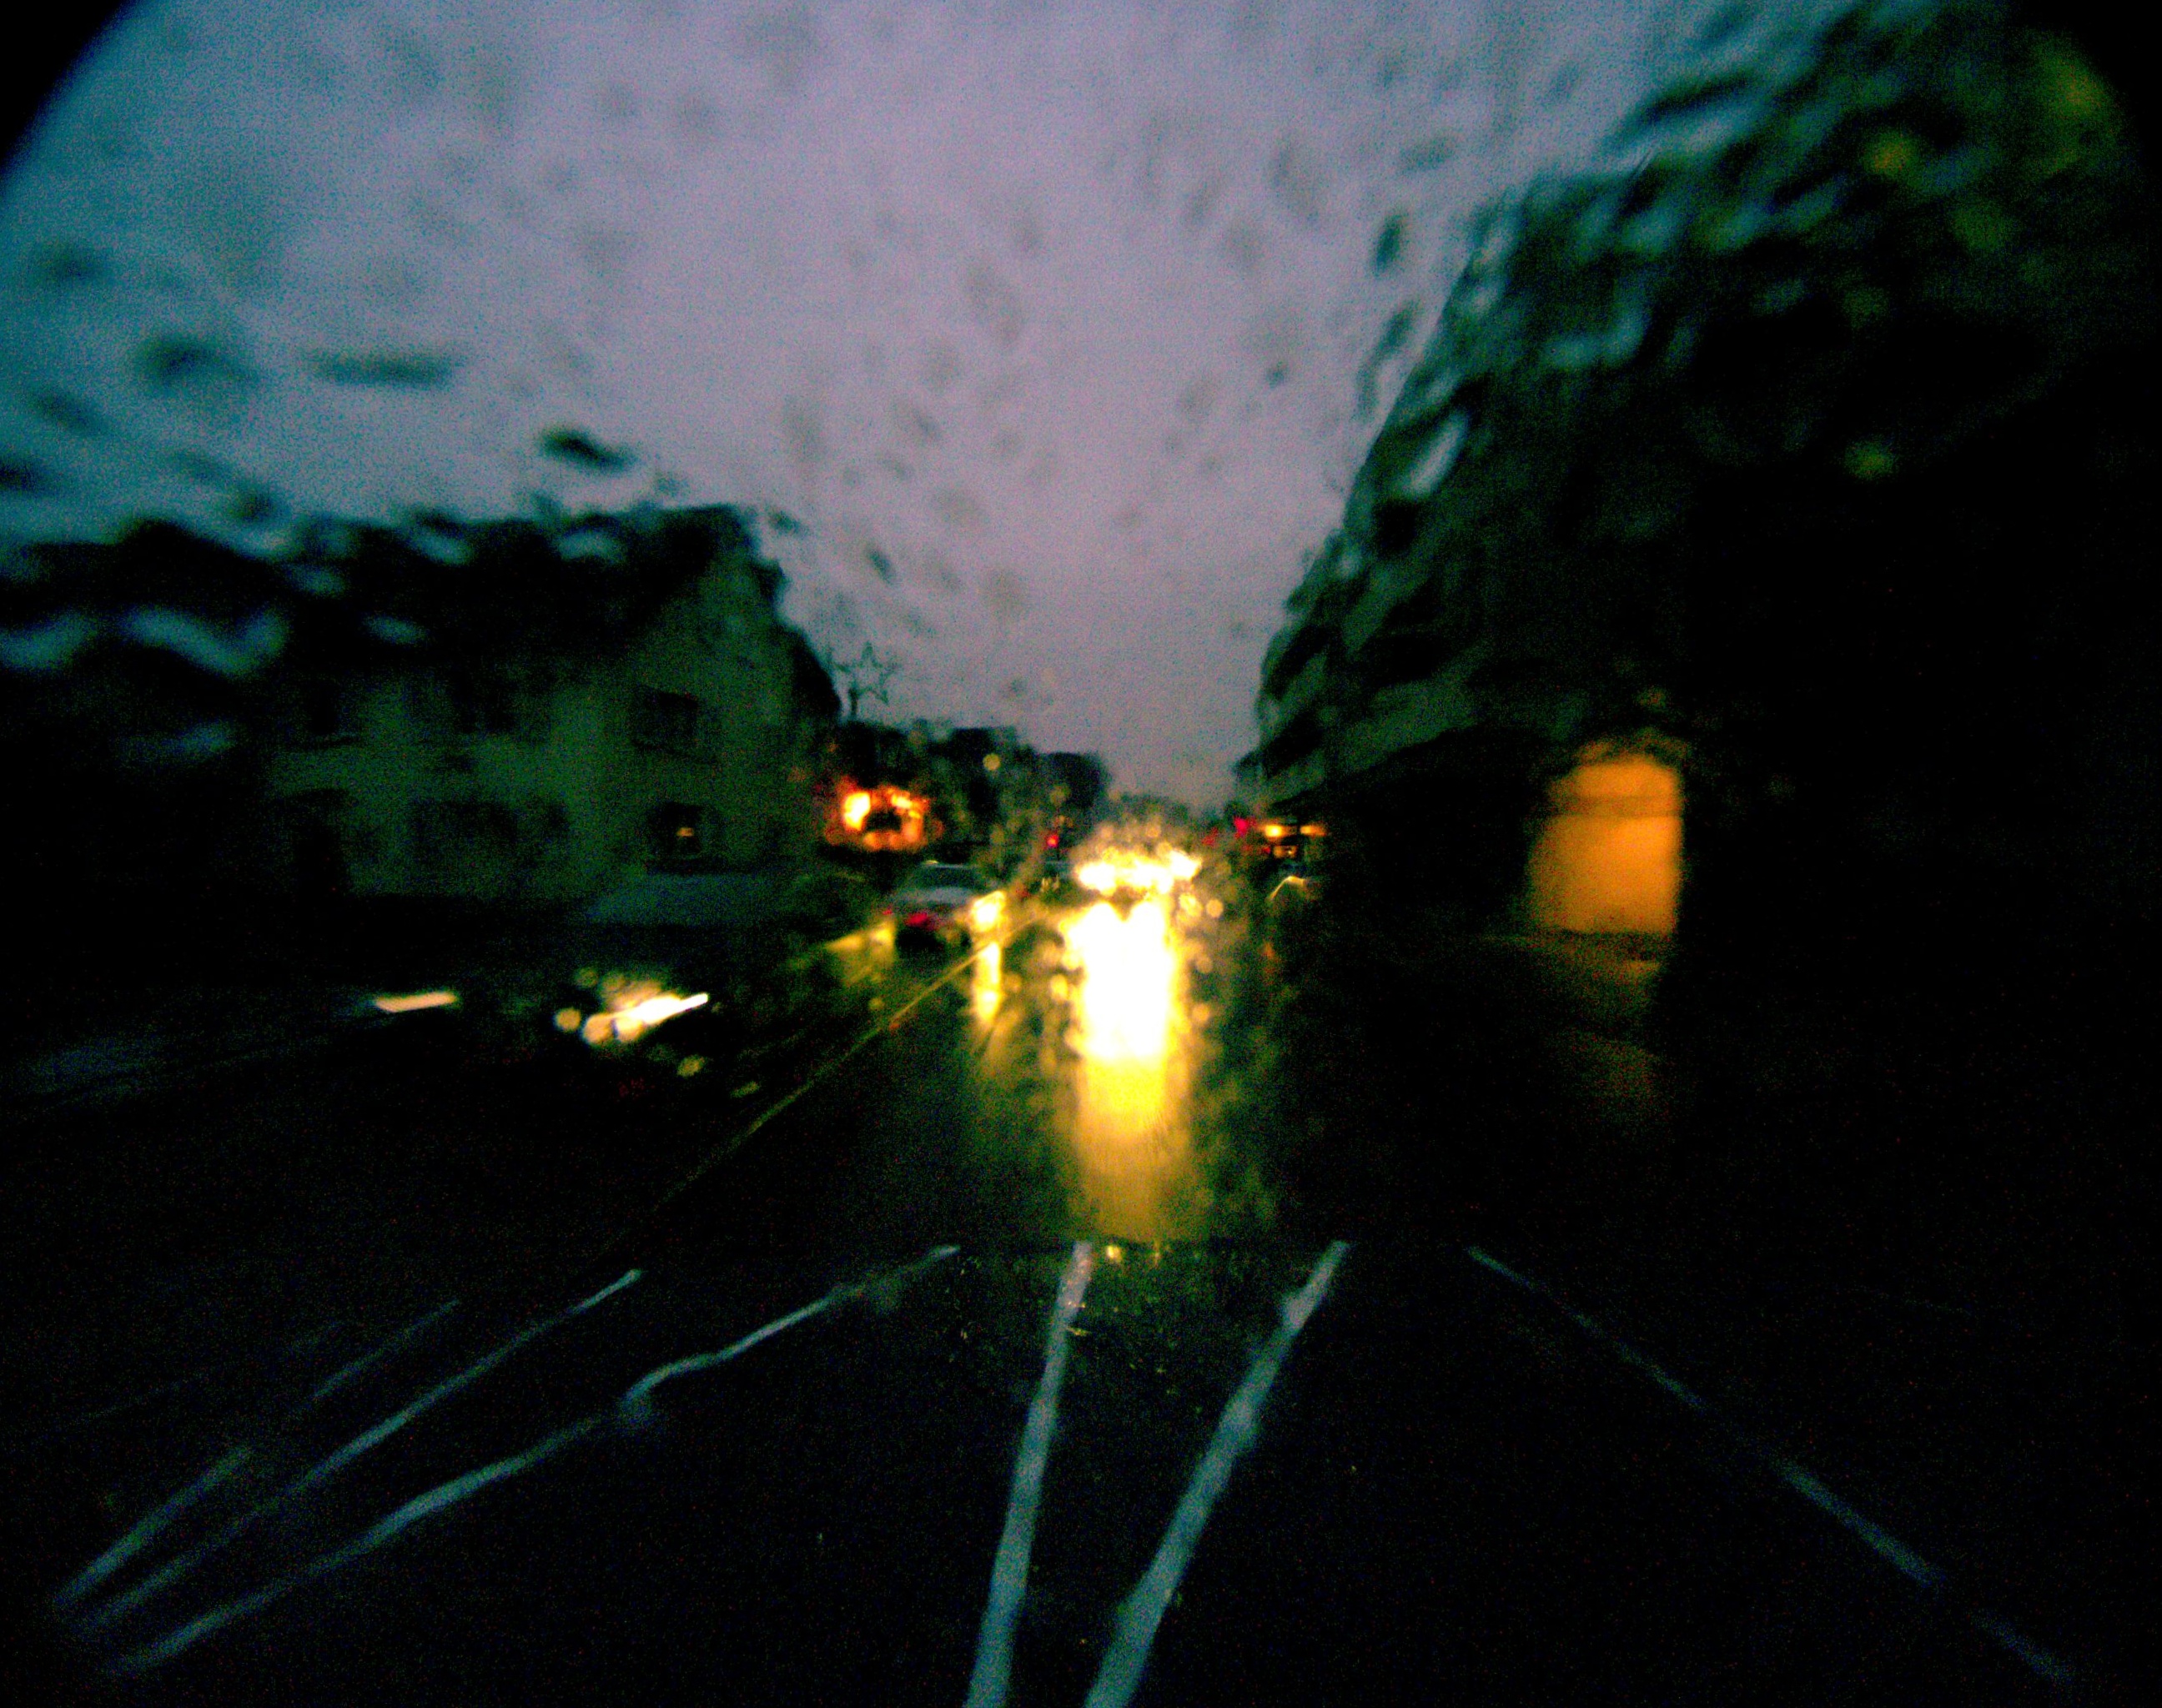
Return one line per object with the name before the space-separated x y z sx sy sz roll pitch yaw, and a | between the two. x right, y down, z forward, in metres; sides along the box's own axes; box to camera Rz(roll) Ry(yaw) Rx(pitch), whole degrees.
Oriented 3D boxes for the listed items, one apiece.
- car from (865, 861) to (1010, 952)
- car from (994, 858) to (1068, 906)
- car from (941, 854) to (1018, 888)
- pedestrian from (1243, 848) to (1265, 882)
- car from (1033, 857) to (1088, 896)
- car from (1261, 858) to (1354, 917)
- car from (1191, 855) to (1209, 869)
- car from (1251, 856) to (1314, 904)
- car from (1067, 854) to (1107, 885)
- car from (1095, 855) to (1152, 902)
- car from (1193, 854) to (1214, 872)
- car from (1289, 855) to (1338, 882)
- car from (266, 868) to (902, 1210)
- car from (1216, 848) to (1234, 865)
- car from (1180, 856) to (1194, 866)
car | -2.678 0.918 15.280 1.798 1.452 4.531 1 0 3
car | -1.613 0.892 26.193 1.826 1.415 4.609 2 1 5
car | -4.876 0.787 36.729 3.296 1.433 1.687 3 1 5
pedestrian | 9.971 0.649 43.859 1.200 1.927 0.977 0 0 14
car | -0.779 0.872 31.612 1.629 1.433 3.802 2 1 8
car | 6.463 0.888 22.146 1.679 1.438 4.429 -3 0 5
car | 13.871 0.908 88.658 1.797 1.448 4.399 -2 0 12
car | 7.177 0.870 27.405 1.618 1.524 3.930 -2 0 7
car | 0.396 0.787 40.958 1.768 1.518 4.391 2 1 5
car | 1.652 0.858 28.355 1.877 1.622 4.002 0 0 7
car | 11.665 0.883 72.491 1.724 1.604 3.818 -3 0 7
car | 13.692 0.890 45.019 1.767 1.490 4.452 1 -1 3
car | -2.939 0.931 5.976 1.887 1.538 4.671 1 0 1
car | 23.929 0.405 126.023 2.043 2.643 4.217 -3 -1 22
car | 17.495 1.132 125.012 1.796 1.501 4.004 1 0 14
